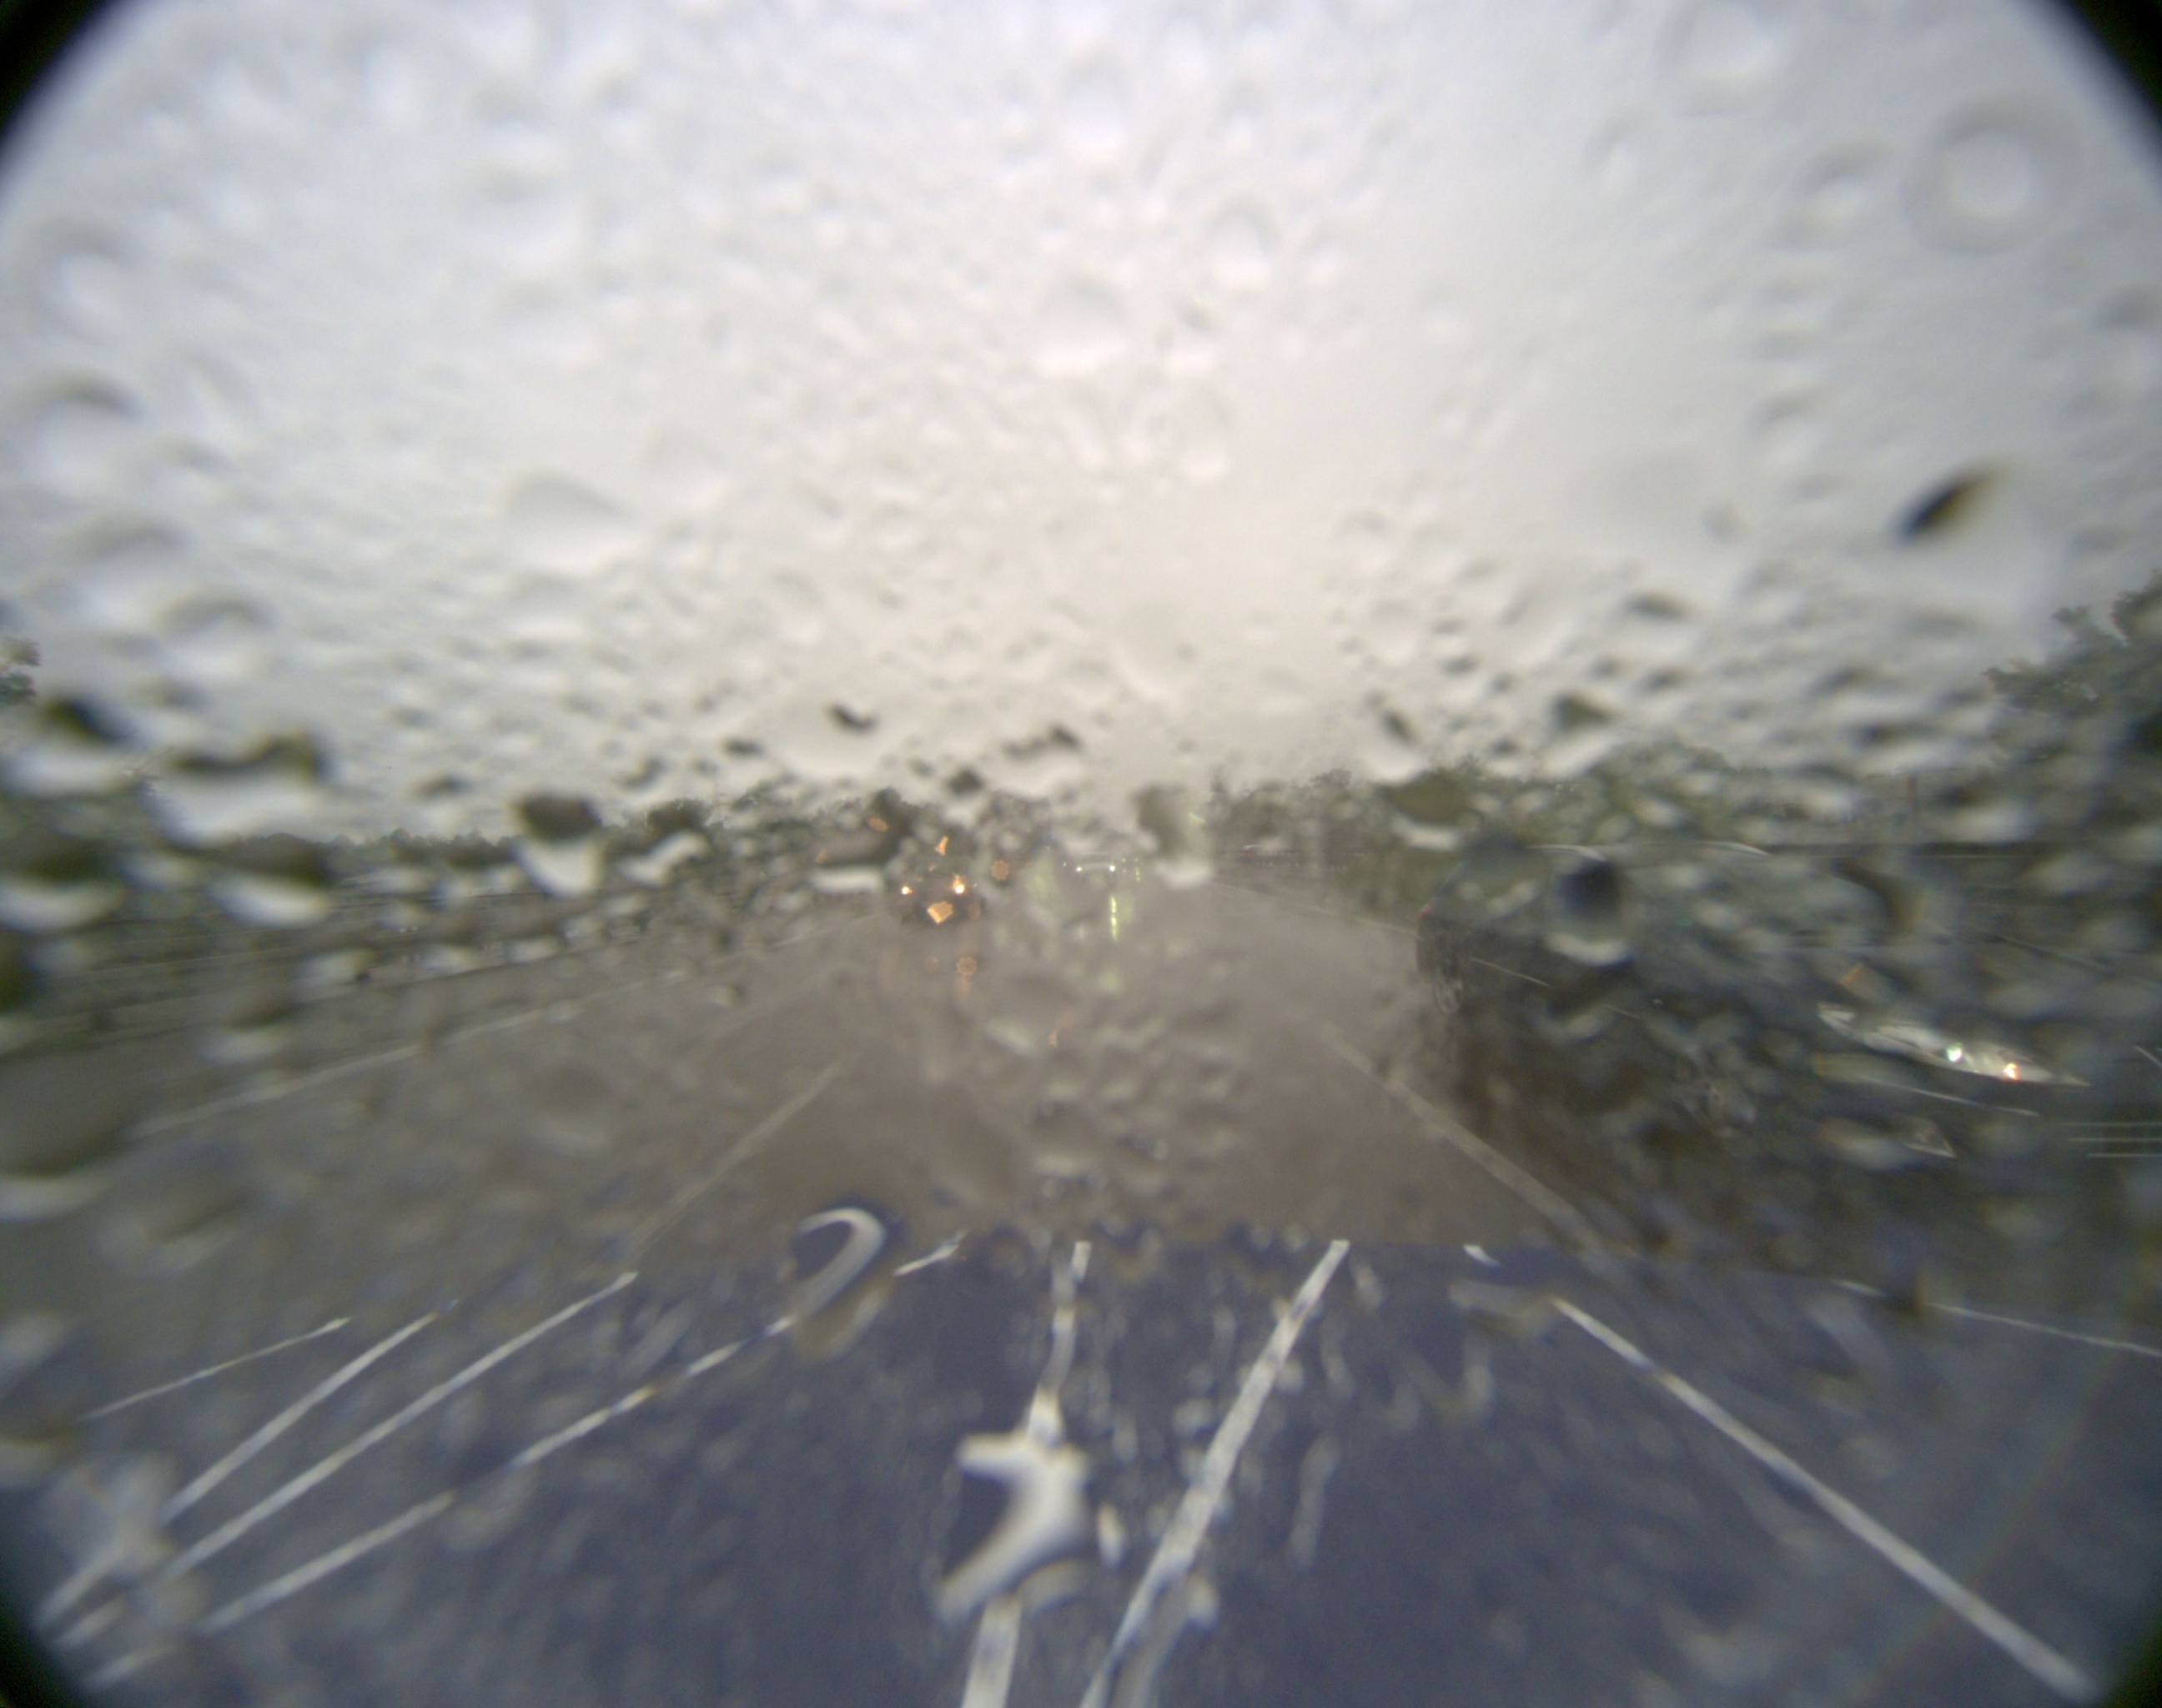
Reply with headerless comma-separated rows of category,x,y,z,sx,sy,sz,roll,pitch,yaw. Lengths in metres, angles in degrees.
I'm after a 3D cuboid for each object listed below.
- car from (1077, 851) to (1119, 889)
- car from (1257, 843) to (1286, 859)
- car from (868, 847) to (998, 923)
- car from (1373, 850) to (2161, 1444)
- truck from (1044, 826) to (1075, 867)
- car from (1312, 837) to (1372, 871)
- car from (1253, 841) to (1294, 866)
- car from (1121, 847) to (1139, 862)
car,0.845,0.695,34.641,1.751,1.546,4.090,-2,1,3
car,18.437,-0.304,73.621,1.843,1.377,3.920,-2,0,2
car,-3.881,0.739,21.224,2.464,1.736,5.718,-2,0,0
car,3.745,0.756,4.547,2.059,1.477,5.158,-2,0,1
truck,-2.199,-0.804,80.063,2.755,4.055,6.483,-2,1,3
car,12.937,-0.019,37.850,1.787,1.541,3.766,-2,0,2
car,13.627,-0.052,53.981,1.998,1.587,4.000,-2,0,2
car,5.501,0.029,85.909,1.900,1.533,4.090,-2,0,2
